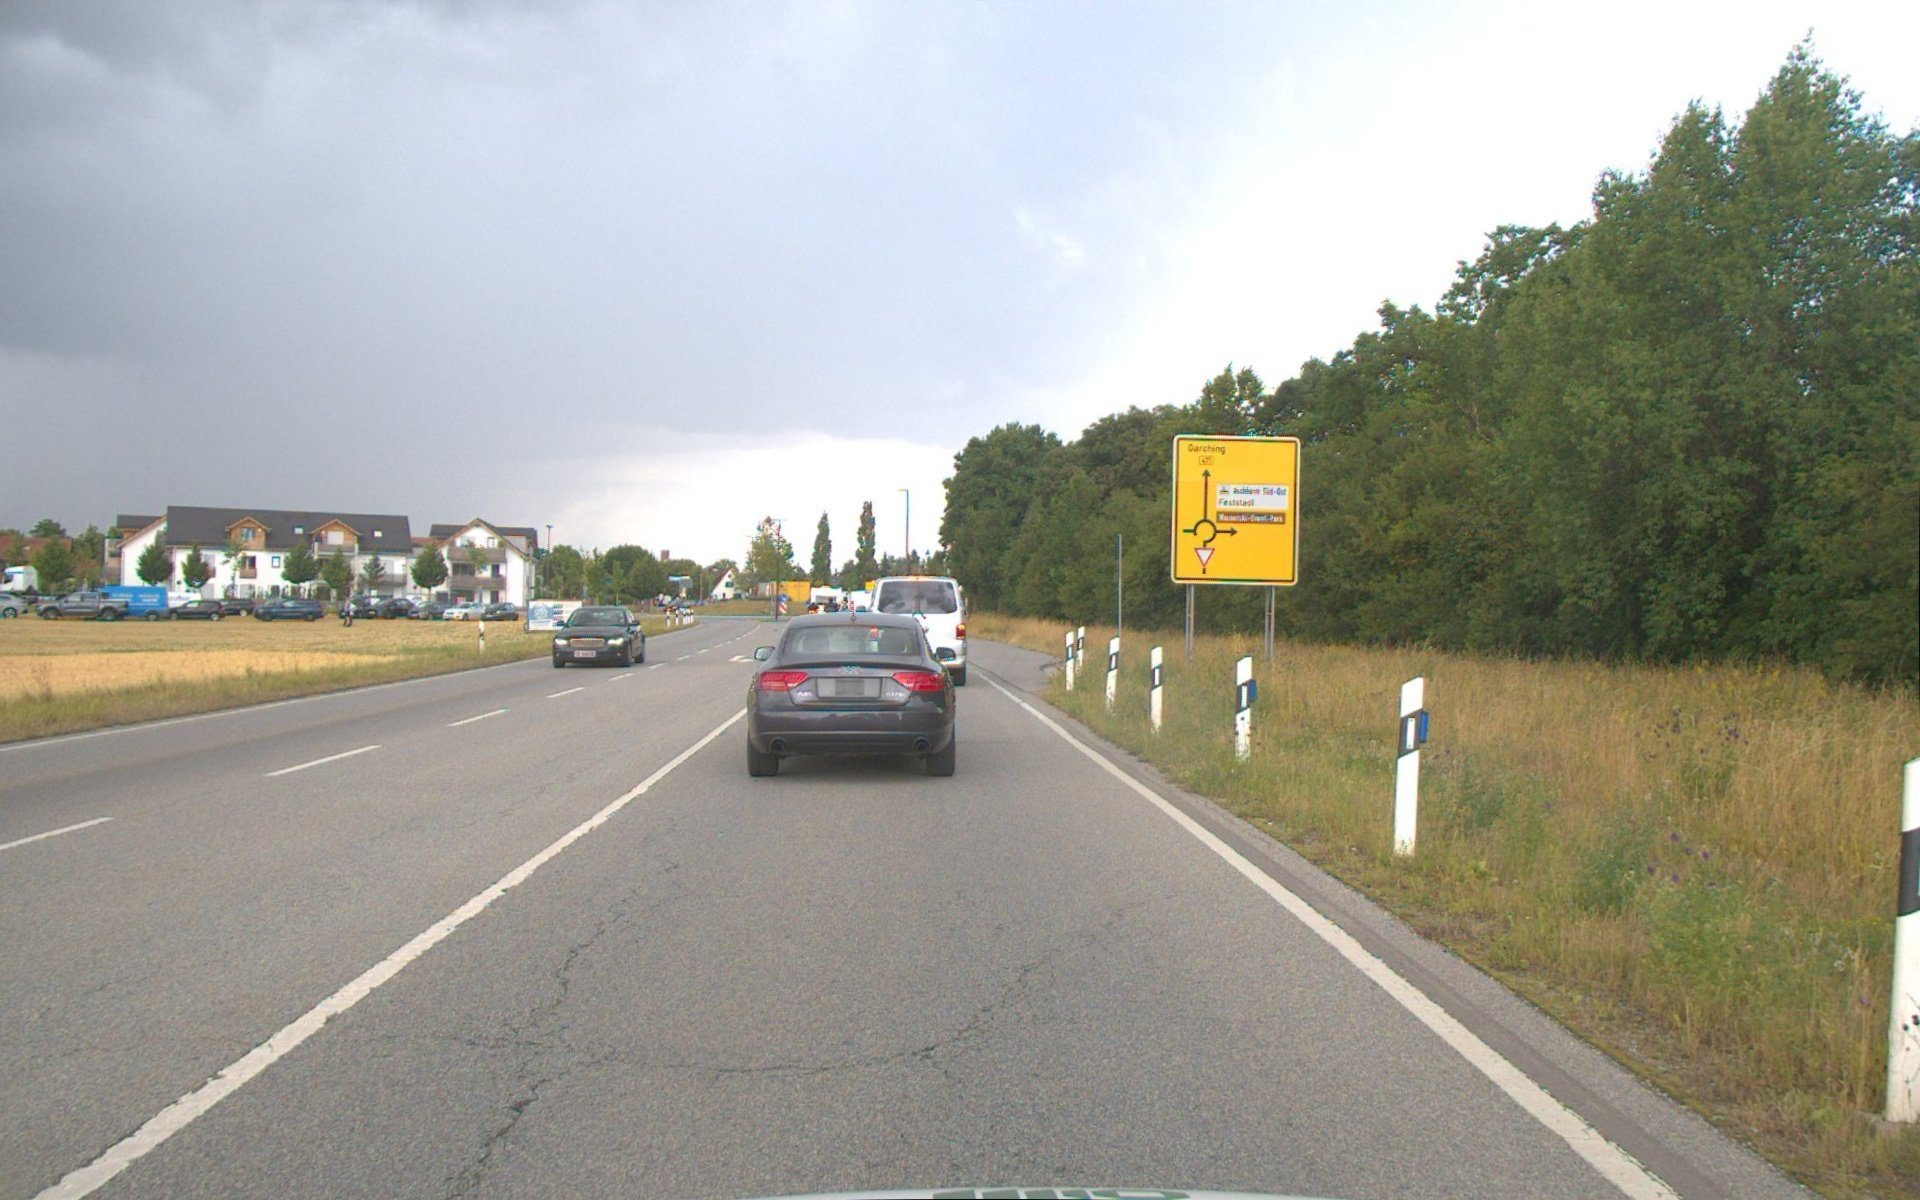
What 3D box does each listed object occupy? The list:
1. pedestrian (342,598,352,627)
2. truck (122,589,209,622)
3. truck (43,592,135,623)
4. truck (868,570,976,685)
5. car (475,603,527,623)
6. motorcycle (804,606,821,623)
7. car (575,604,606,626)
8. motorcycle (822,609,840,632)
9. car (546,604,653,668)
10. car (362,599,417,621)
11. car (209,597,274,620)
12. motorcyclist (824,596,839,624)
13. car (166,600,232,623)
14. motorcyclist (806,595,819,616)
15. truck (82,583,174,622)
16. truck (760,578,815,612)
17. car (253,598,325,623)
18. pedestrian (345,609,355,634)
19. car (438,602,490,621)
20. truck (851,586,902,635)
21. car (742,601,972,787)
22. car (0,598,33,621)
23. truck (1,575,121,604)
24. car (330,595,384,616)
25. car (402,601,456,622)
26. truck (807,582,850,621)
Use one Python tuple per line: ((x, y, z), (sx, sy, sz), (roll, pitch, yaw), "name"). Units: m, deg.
((-39.441, 0.812, 106.414), (0.539, 1.817, 0.675), (1, -1, -15), "pedestrian")
((-56.808, 0.412, 118.301), (5.498, 2.235, 2.585), (1, 0, -27), "truck")
((-56.106, 0.493, 106.606), (5.172, 1.954, 2.091), (1, -1, -31), "truck")
((-0.799, 0.489, 31.671), (1.866, 2.033, 4.625), (1, 0, -3), "truck")
((-34.892, 0.979, 125.782), (1.951, 1.471, 4.215), (0, 0, 14), "car")
((-9.721, 0.948, 108.894), (0.927, 1.037, 2.279), (1, 0, -9), "motorcycle")
((-25.501, 1.019, 114.002), (1.960, 1.467, 3.985), (1, 0, -14), "car")
((-6.537, 1.025, 83.875), (0.902, 1.113, 2.187), (1, 0, -4), "motorcycle")
((-8.670, 0.829, 40.122), (1.790, 1.435, 4.422), (0, 0, -2), "car")
((-43.602, 0.755, 126.448), (1.951, 1.657, 4.215), (0, 0, 14), "car")
((-56.236, 0.681, 129.523), (4.565, 1.727, 1.985), (1, 0, -24), "car")
((-6.519, 0.518, 83.845), (0.757, 1.408, 0.819), (1, -1, -5), "motorcyclist")
((-53.146, 0.783, 115.617), (4.101, 1.545, 1.985), (1, 0, -24), "car")
((-9.701, 0.354, 108.843), (0.771, 1.380, 0.852), (1, 0, -10), "motorcyclist")
((-55.653, 0.183, 110.748), (5.382, 2.489, 2.373), (1, -1, -27), "truck")
((-19.286, -0.595, 183.973), (3.526, 3.641, 9.891), (1, 0, -22), "truck")
((-47.932, 0.763, 118.154), (4.654, 1.727, 1.985), (1, 0, -24), "car")
((-39.521, 1.390, 107.204), (0.581, 1.583, 0.621), (1, -1, -23), "pedestrian")
((-37.752, 0.867, 125.986), (1.951, 1.471, 4.215), (0, 0, 14), "car")
((-3.725, 0.463, 72.978), (2.150, 2.049, 5.081), (1, 0, -3), "truck")
((-0.965, 0.755, 15.321), (1.838, 1.479, 4.173), (0, 0, -4), "car")
((-62.669, 0.603, 107.390), (4.250, 1.487, 1.872), (1, 0, -31), "car")
((-83.455, -0.965, 153.699), (9.162, 2.574, 3.297), (1, 0, -5), "truck")
((-46.826, 0.424, 128.524), (1.951, 1.657, 4.215), (0, 0, 14), "car")
((-40.482, 0.841, 126.208), (1.951, 1.562, 4.215), (0, 0, 14), "car")
((-9.792, 0.130, 122.686), (2.579, 2.785, 5.852), (1, 0, -10), "truck")
